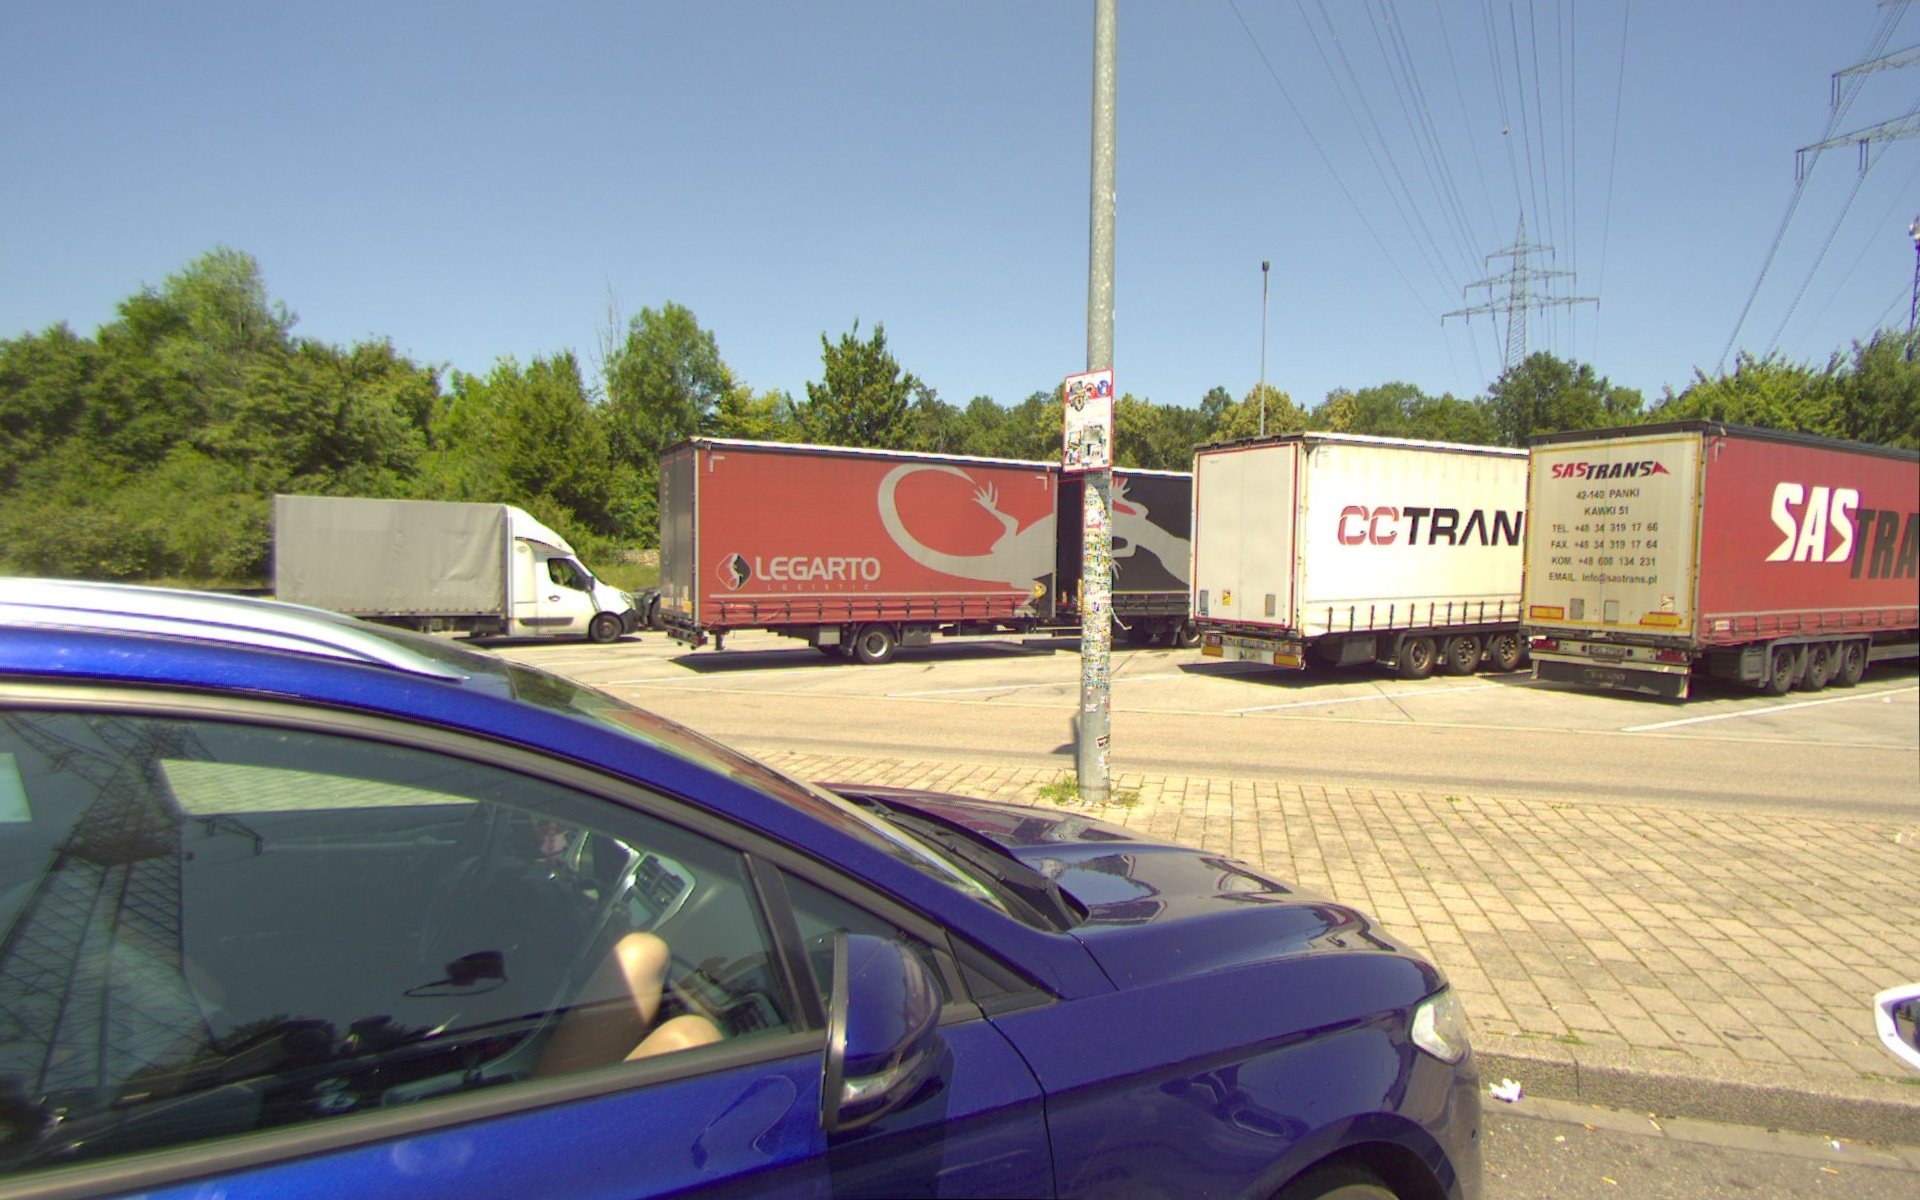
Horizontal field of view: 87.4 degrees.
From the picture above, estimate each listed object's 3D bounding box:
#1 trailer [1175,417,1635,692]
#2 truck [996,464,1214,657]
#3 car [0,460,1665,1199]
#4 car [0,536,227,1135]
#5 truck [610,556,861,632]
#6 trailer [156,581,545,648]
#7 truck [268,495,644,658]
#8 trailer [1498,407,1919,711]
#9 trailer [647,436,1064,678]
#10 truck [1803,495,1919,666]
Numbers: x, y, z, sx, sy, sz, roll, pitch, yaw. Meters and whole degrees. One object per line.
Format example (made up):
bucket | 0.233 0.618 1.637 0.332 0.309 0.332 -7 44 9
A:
trailer | 8.857 -0.820 19.329 10.049 4.267 2.714 -1 3 -30
truck | 3.347 -0.902 23.363 4.273 4.072 2.689 -1 3 -30
car | -0.990 0.653 1.471 4.592 1.502 1.727 0 0 -33
car | -4.563 0.582 2.256 4.592 1.554 1.726 0 1 -33
truck | -6.490 -0.157 29.528 6.961 2.040 1.984 0 0 -30
trailer | -14.839 0.267 25.189 7.996 1.394 2.212 -1 3 -30
truck | -11.211 -0.567 22.906 7.254 3.254 2.515 -1 3 -30
trailer | 15.396 -0.704 18.563 13.559 4.189 2.892 -1 3 -30
trailer | -1.935 -0.827 20.269 7.996 4.101 2.696 -1 3 -30
truck | 21.719 -0.433 22.307 5.418 3.475 2.838 -1 3 -30
